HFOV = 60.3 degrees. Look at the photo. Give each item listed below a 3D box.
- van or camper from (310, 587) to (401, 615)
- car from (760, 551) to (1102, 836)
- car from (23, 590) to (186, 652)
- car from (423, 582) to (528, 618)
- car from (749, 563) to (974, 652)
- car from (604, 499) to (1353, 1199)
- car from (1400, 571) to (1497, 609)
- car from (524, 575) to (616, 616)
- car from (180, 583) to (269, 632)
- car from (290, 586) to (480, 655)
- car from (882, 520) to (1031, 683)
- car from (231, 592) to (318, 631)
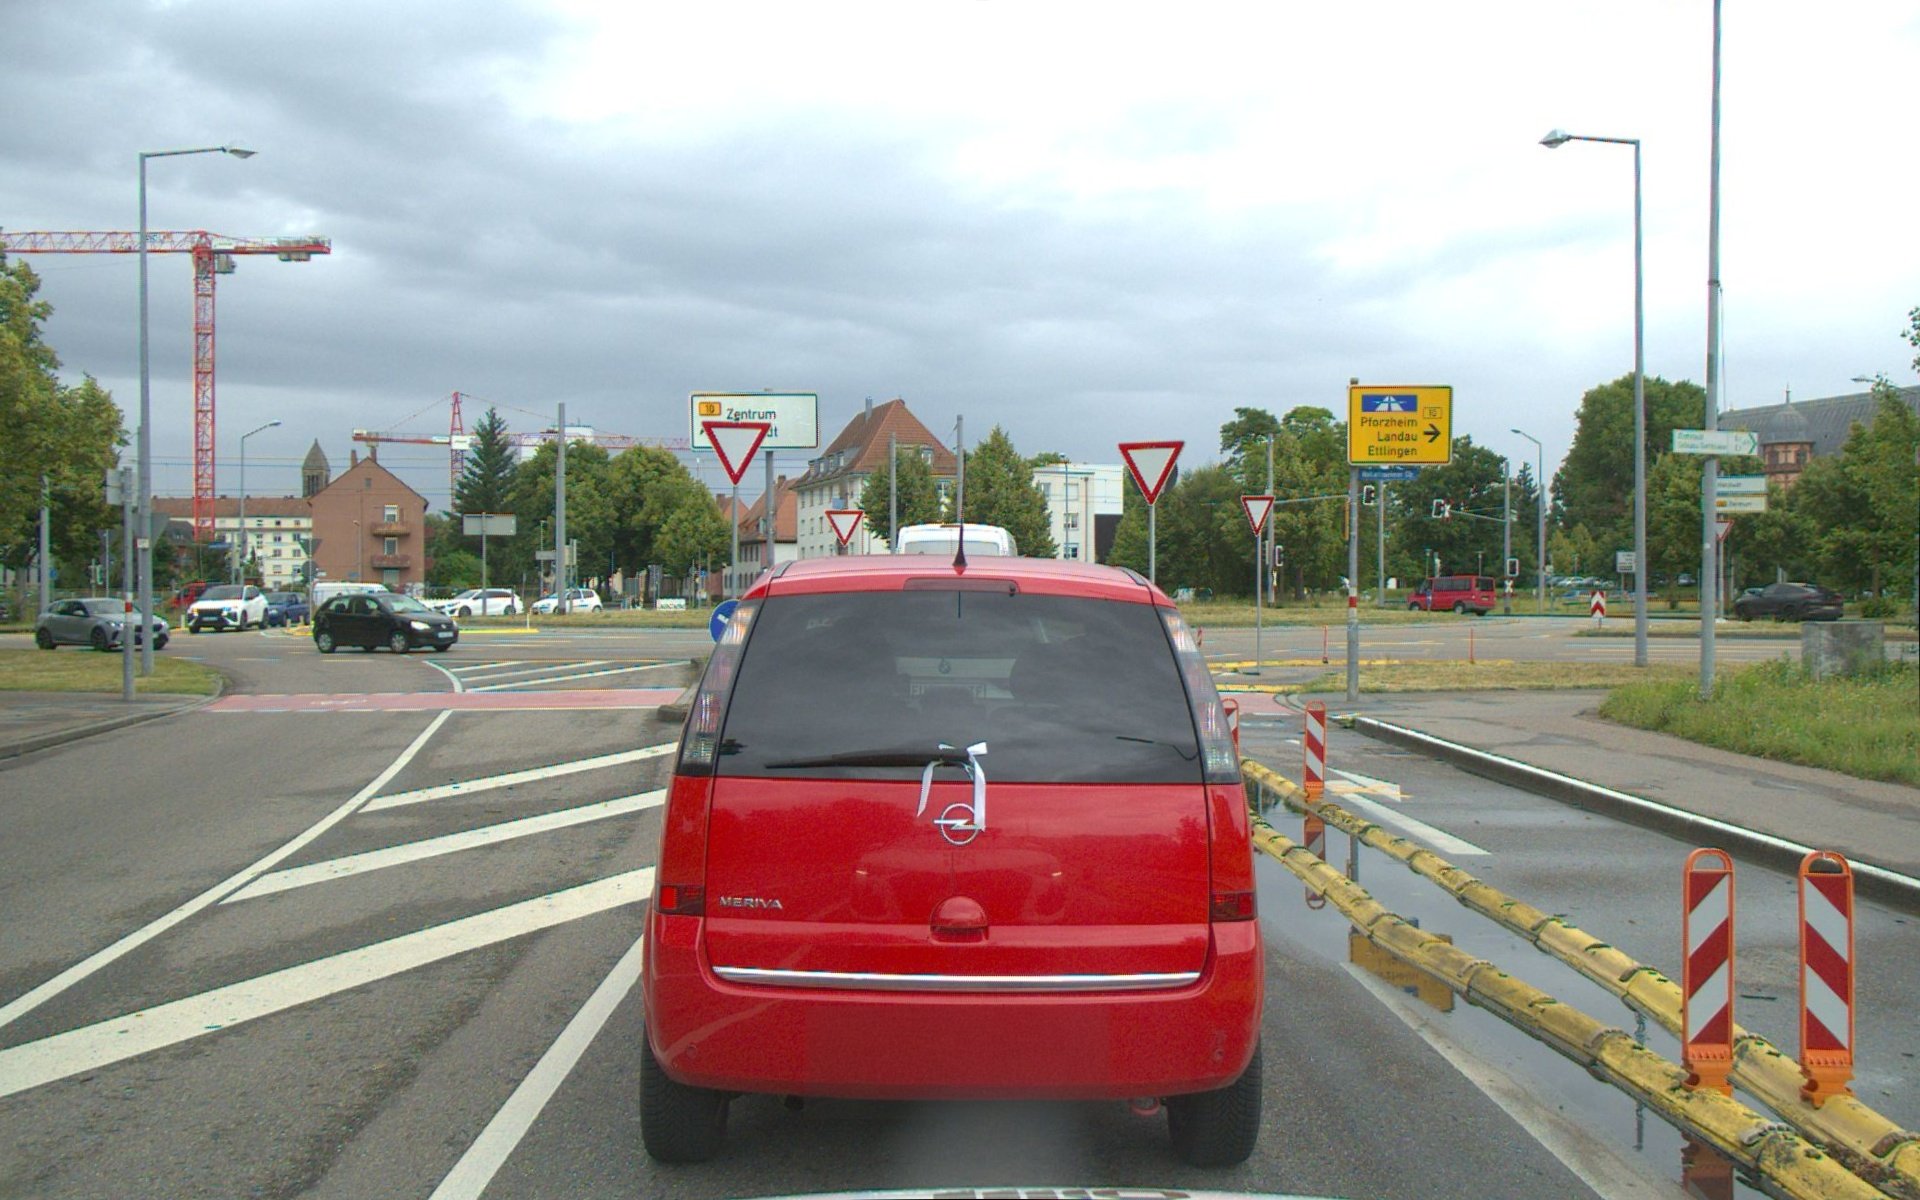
[{"bbox_3d":[-44.259,0.066,121.133,6.045,2.049,2.002,0,0,10],"label":"van or camper"},{"bbox_3d":[-0.209,0.542,12.174,2.018,1.676,4.606,1,0,-1],"label":"car"},{"bbox_3d":[-23.737,0.546,45.856,4.345,1.630,2.094,0,0,32],"label":"car"},{"bbox_3d":[-23.438,-0.026,80.201,1.961,1.663,4.656,0,0,37],"label":"car"},{"bbox_3d":[-2.201,0.171,37.721,4.729,1.933,2.101,0,0,11],"label":"car"},{"bbox_3d":[0.017,0.610,5.478,1.639,1.669,3.626,1,0,-1],"label":"car"},{"bbox_3d":[25.886,-0.514,87.782,2.086,1.951,4.841,-1,0,-30],"label":"car"},{"bbox_3d":[-19.977,-0.235,84.899,1.959,2.049,4.466,0,0,34],"label":"car"},{"bbox_3d":[-26.886,0.240,60.609,1.895,1.713,4.181,-1,0,-8],"label":"car"},{"bbox_3d":[-14.448,0.495,41.548,4.340,1.630,2.096,0,0,27],"label":"car"},{"bbox_3d":[0.046,0.003,28.937,2.149,2.584,4.965,1,0,5],"label":"car"},{"bbox_3d":[-27.793,0.432,67.219,1.891,1.515,4.000,-1,0,-1],"label":"car"}]
